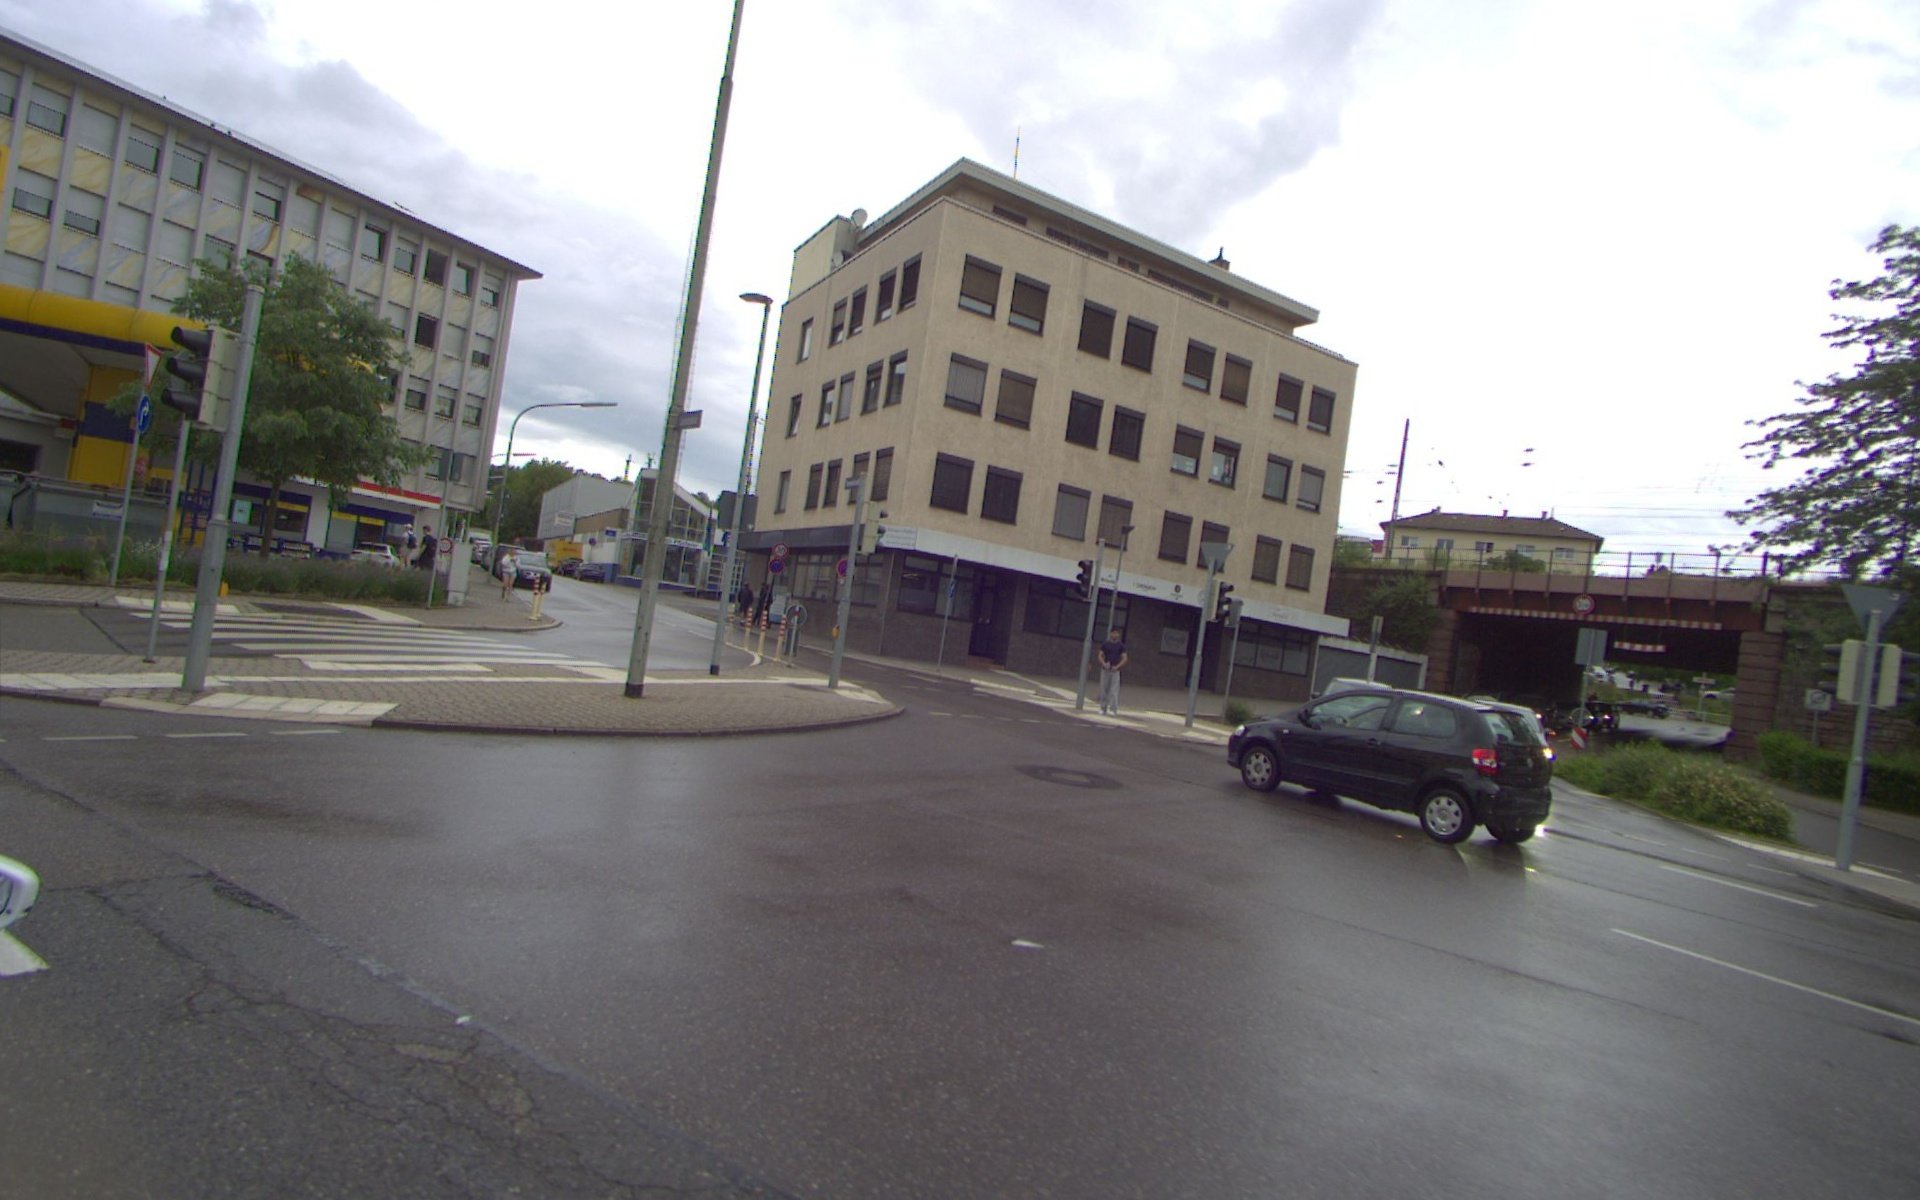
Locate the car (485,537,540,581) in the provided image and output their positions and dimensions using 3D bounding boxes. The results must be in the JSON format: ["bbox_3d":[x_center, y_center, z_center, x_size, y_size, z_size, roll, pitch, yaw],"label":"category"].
[{"bbox_3d":[-23.771,-2.116,53.386,1.981,1.884,4.548,11,-4,-29],"label":"car"}]

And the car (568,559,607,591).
[{"bbox_3d":[-28.081,-1.824,75.724,1.979,2.034,3.975,10,-4,-27],"label":"car"}]

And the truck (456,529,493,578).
[{"bbox_3d":[-43.327,-4.090,89.710,1.980,3.955,5.447,10,-4,-29],"label":"truck"}]

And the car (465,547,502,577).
[{"bbox_3d":[-36.134,-2.833,76.272,1.981,1.884,4.548,11,-4,-29],"label":"car"}]

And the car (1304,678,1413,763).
[{"bbox_3d":[9.146,2.657,23.066,1.963,1.461,4.485,7,-1,23],"label":"car"}]

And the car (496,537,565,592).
[{"bbox_3d":[-18.396,-1.476,42.999,1.981,1.884,4.548,11,-4,-29],"label":"car"}]

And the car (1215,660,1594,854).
[{"bbox_3d":[5.148,1.787,12.112,1.665,1.508,3.712,12,-3,-33],"label":"car"}]

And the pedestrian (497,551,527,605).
[{"bbox_3d":[-13.510,-0.655,30.340,0.472,1.531,0.574,9,-3,-9],"label":"pedestrian"}]

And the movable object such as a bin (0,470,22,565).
[{"bbox_3d":[-17.707,-1.599,17.041,1.744,1.592,2.160,6,-2,32],"label":"movable object such as a bin"}]

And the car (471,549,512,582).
[{"bbox_3d":[-32.906,-2.364,70.624,1.981,1.884,4.548,11,-4,-29],"label":"car"}]

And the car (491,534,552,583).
[{"bbox_3d":[-21.064,-1.918,48.214,1.981,1.884,4.548,11,-4,-29],"label":"car"}]

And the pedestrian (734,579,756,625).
[{"bbox_3d":[-8.535,0.065,39.941,0.475,1.761,0.571,10,-3,-28],"label":"pedestrian"}]

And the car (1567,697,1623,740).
[{"bbox_3d":[38.173,7.113,60.416,1.974,2.034,3.985,5,-5,44],"label":"car"}]

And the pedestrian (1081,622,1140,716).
[{"bbox_3d":[3.149,1.450,20.952,0.761,1.810,0.859,7,-3,27],"label":"pedestrian"}]

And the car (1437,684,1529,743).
[{"bbox_3d":[21.382,4.634,41.065,4.144,1.801,1.976,13,-5,-43],"label":"car"}]

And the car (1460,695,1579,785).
[{"bbox_3d":[12.376,3.014,22.451,1.965,1.461,4.481,7,-1,28],"label":"car"}]

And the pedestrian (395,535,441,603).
[{"bbox_3d":[-22.204,-1.277,41.217,1.004,2.594,1.135,11,-4,-44],"label":"pedestrian"}]

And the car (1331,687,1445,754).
[{"bbox_3d":[12.147,3.363,28.386,1.969,1.461,4.473,7,-1,35],"label":"car"}]

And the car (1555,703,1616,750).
[{"bbox_3d":[34.543,7.002,55.507,1.974,2.034,3.985,5,-5,44],"label":"car"}]

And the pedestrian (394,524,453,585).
[{"bbox_3d":[-15.901,-1.337,29.831,1.095,1.539,0.917,9,-3,-9],"label":"pedestrian"}]

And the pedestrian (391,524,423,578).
[{"bbox_3d":[-19.712,-1.734,35.838,0.674,1.776,0.725,10,-3,-36],"label":"pedestrian"}]

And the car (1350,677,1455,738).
[{"bbox_3d":[16.033,3.894,36.351,3.981,1.601,1.976,13,-5,-43],"label":"car"}]

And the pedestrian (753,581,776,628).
[{"bbox_3d":[-7.721,0.178,39.724,0.475,1.761,0.571,10,-3,-28],"label":"pedestrian"}]

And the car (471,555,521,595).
[{"bbox_3d":[-26.851,-1.425,58.122,1.981,1.884,4.548,11,-4,-29],"label":"car"}]

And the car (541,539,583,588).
[{"bbox_3d":[-34.874,-3.119,88.036,2.360,3.726,4.961,10,-4,-28],"label":"car"}]

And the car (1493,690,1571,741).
[{"bbox_3d":[26.728,5.394,46.971,3.981,1.801,1.976,12,-5,-43],"label":"car"}]

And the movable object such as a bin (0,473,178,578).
[{"bbox_3d":[-16.516,-1.387,19.003,1.744,1.574,2.159,6,-1,32],"label":"movable object such as a bin"}]

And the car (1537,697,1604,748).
[{"bbox_3d":[30.880,6.215,50.838,1.974,2.034,3.985,5,-5,44],"label":"car"}]

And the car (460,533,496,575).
[{"bbox_3d":[-39.878,-3.728,83.143,1.980,3.004,4.548,10,-4,-29],"label":"car"}]

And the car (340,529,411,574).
[{"bbox_3d":[-26.494,-2.134,45.749,1.973,1.533,4.401,7,-3,-21],"label":"car"}]
